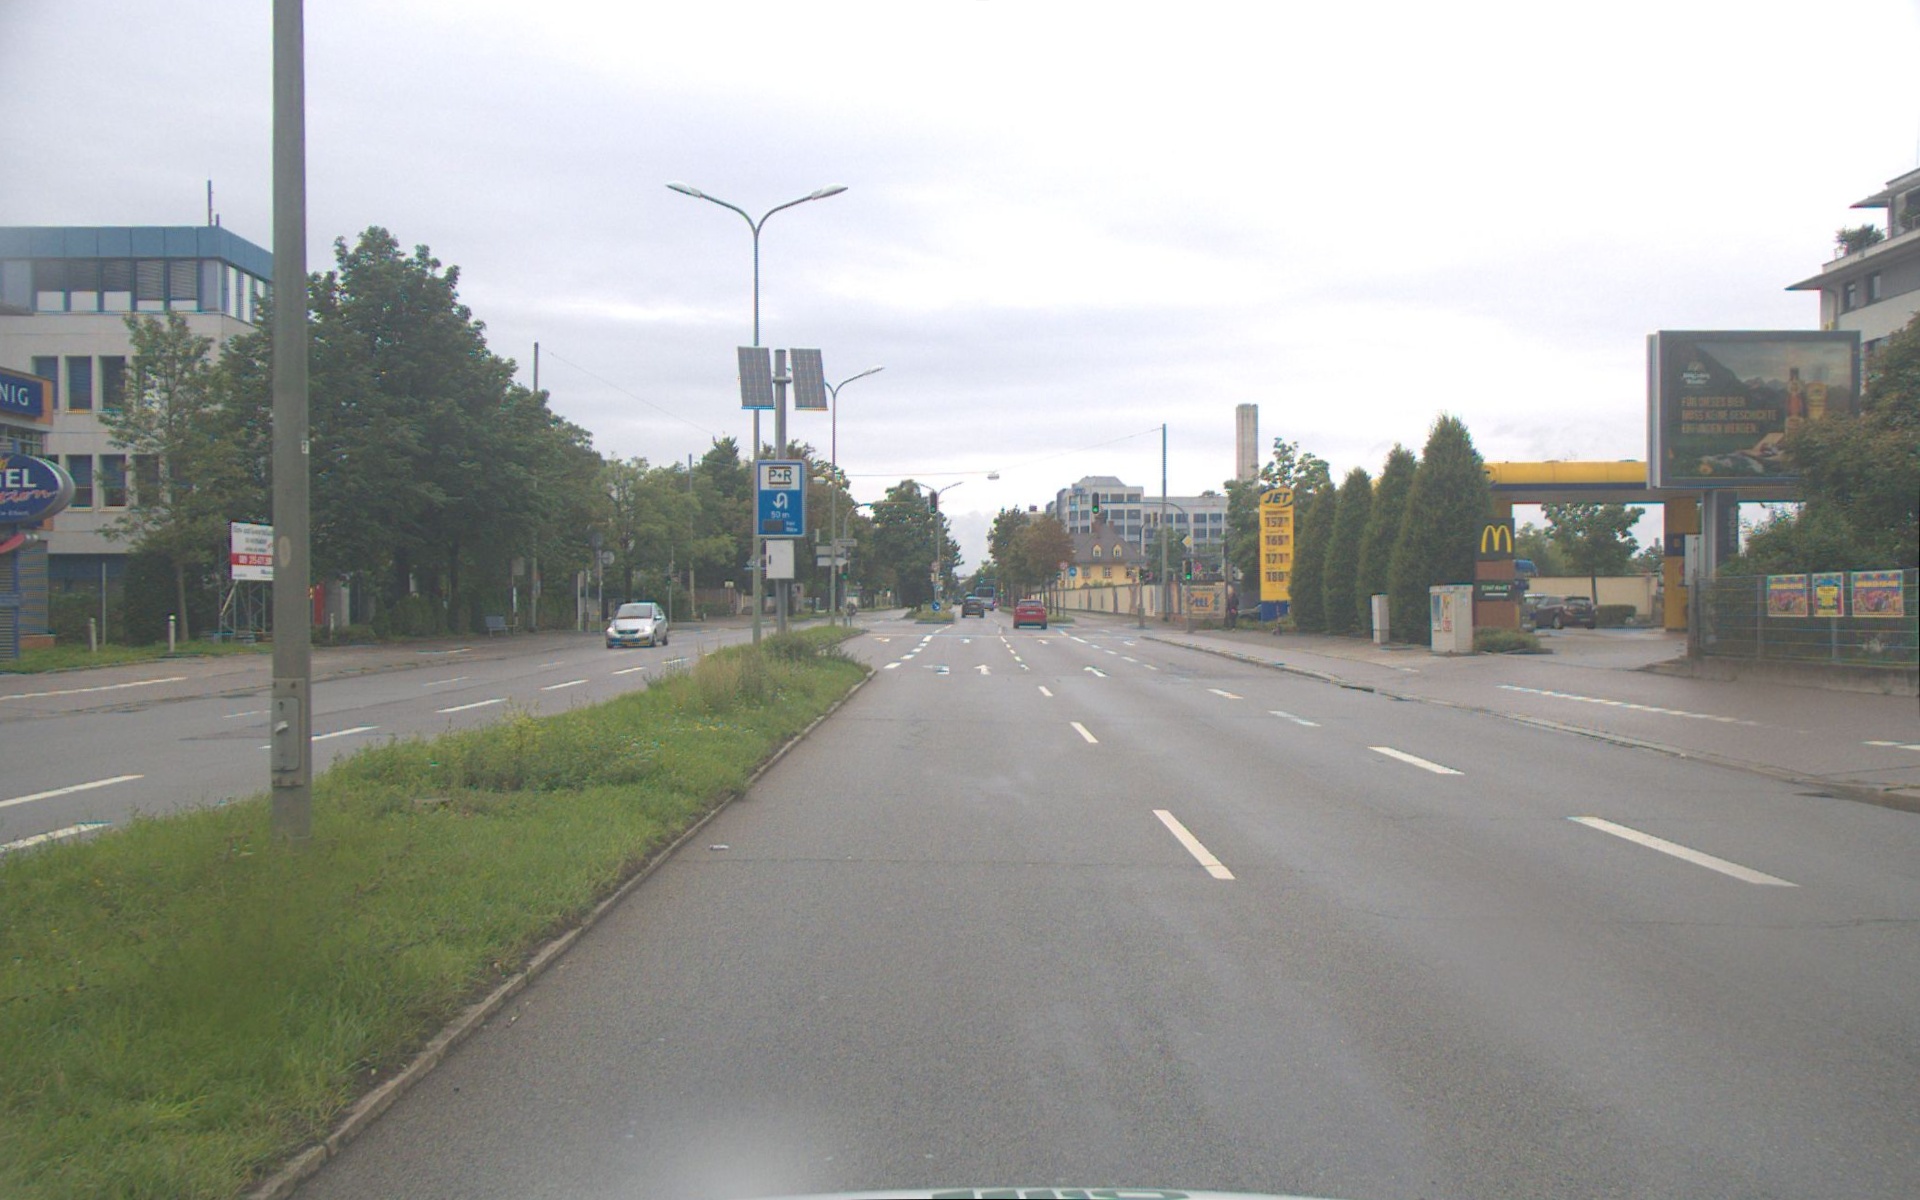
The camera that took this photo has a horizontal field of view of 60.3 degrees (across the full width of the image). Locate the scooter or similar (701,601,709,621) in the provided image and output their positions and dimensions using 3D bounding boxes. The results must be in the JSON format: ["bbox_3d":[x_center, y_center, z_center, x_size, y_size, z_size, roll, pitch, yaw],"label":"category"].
[{"bbox_3d":[-17.925,0.770,116.122,0.364,1.449,1.400,1,0,-15],"label":"scooter or similar"}]

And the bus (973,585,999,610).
[{"bbox_3d":[3.425,-0.295,222.090,3.155,3.181,10.342,1,0,-1],"label":"bus"}]

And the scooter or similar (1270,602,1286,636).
[{"bbox_3d":[11.903,0.698,61.861,0.348,1.264,1.546,-3,0,5],"label":"scooter or similar"}]

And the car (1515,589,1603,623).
[{"bbox_3d":[25.968,0.267,71.889,1.667,1.408,4.353,1,0,-10],"label":"car"}]

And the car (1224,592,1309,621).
[{"bbox_3d":[16.267,0.364,87.982,4.162,1.453,2.001,-1,0,2],"label":"car"}]

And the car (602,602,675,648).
[{"bbox_3d":[-11.727,0.895,60.562,1.777,1.585,4.027,-2,0,1],"label":"car"}]

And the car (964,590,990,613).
[{"bbox_3d":[1.396,0.114,139.939,2.042,1.898,4.385,1,0,-1],"label":"car"}]

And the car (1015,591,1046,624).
[{"bbox_3d":[3.878,0.420,90.881,1.454,1.745,3.550,1,0,-1],"label":"car"}]

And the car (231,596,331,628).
[{"bbox_3d":[-31.975,0.546,77.912,4.075,1.443,1.871,1,0,17],"label":"car"}]
